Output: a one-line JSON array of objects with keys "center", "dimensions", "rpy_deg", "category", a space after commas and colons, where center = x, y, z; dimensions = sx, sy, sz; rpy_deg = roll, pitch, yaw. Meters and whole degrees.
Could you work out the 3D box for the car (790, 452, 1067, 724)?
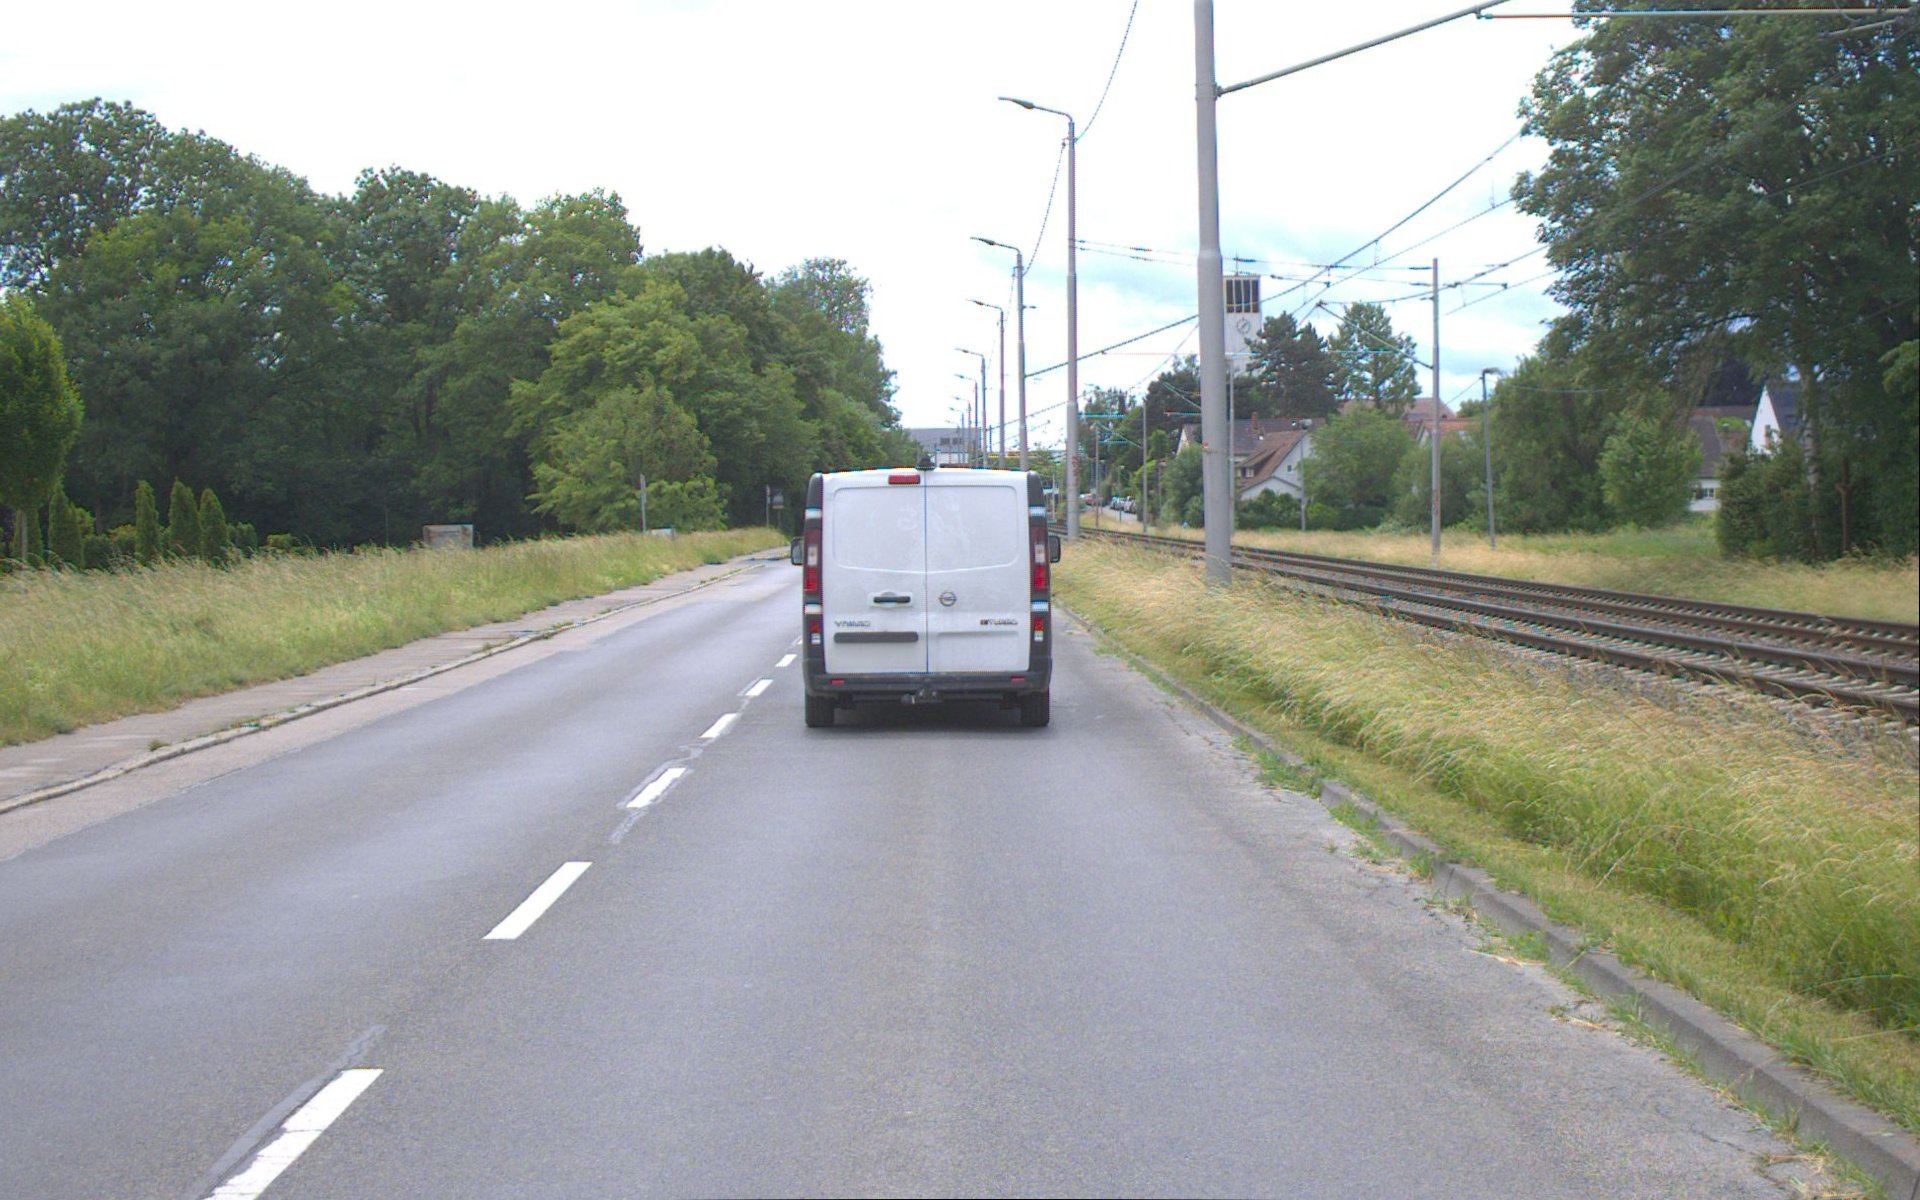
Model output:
[{"center": [-0.281, -0.133, 26.835], "dimensions": [1.993, 1.950, 4.001], "rpy_deg": [0, 1, -1], "category": "car"}]
